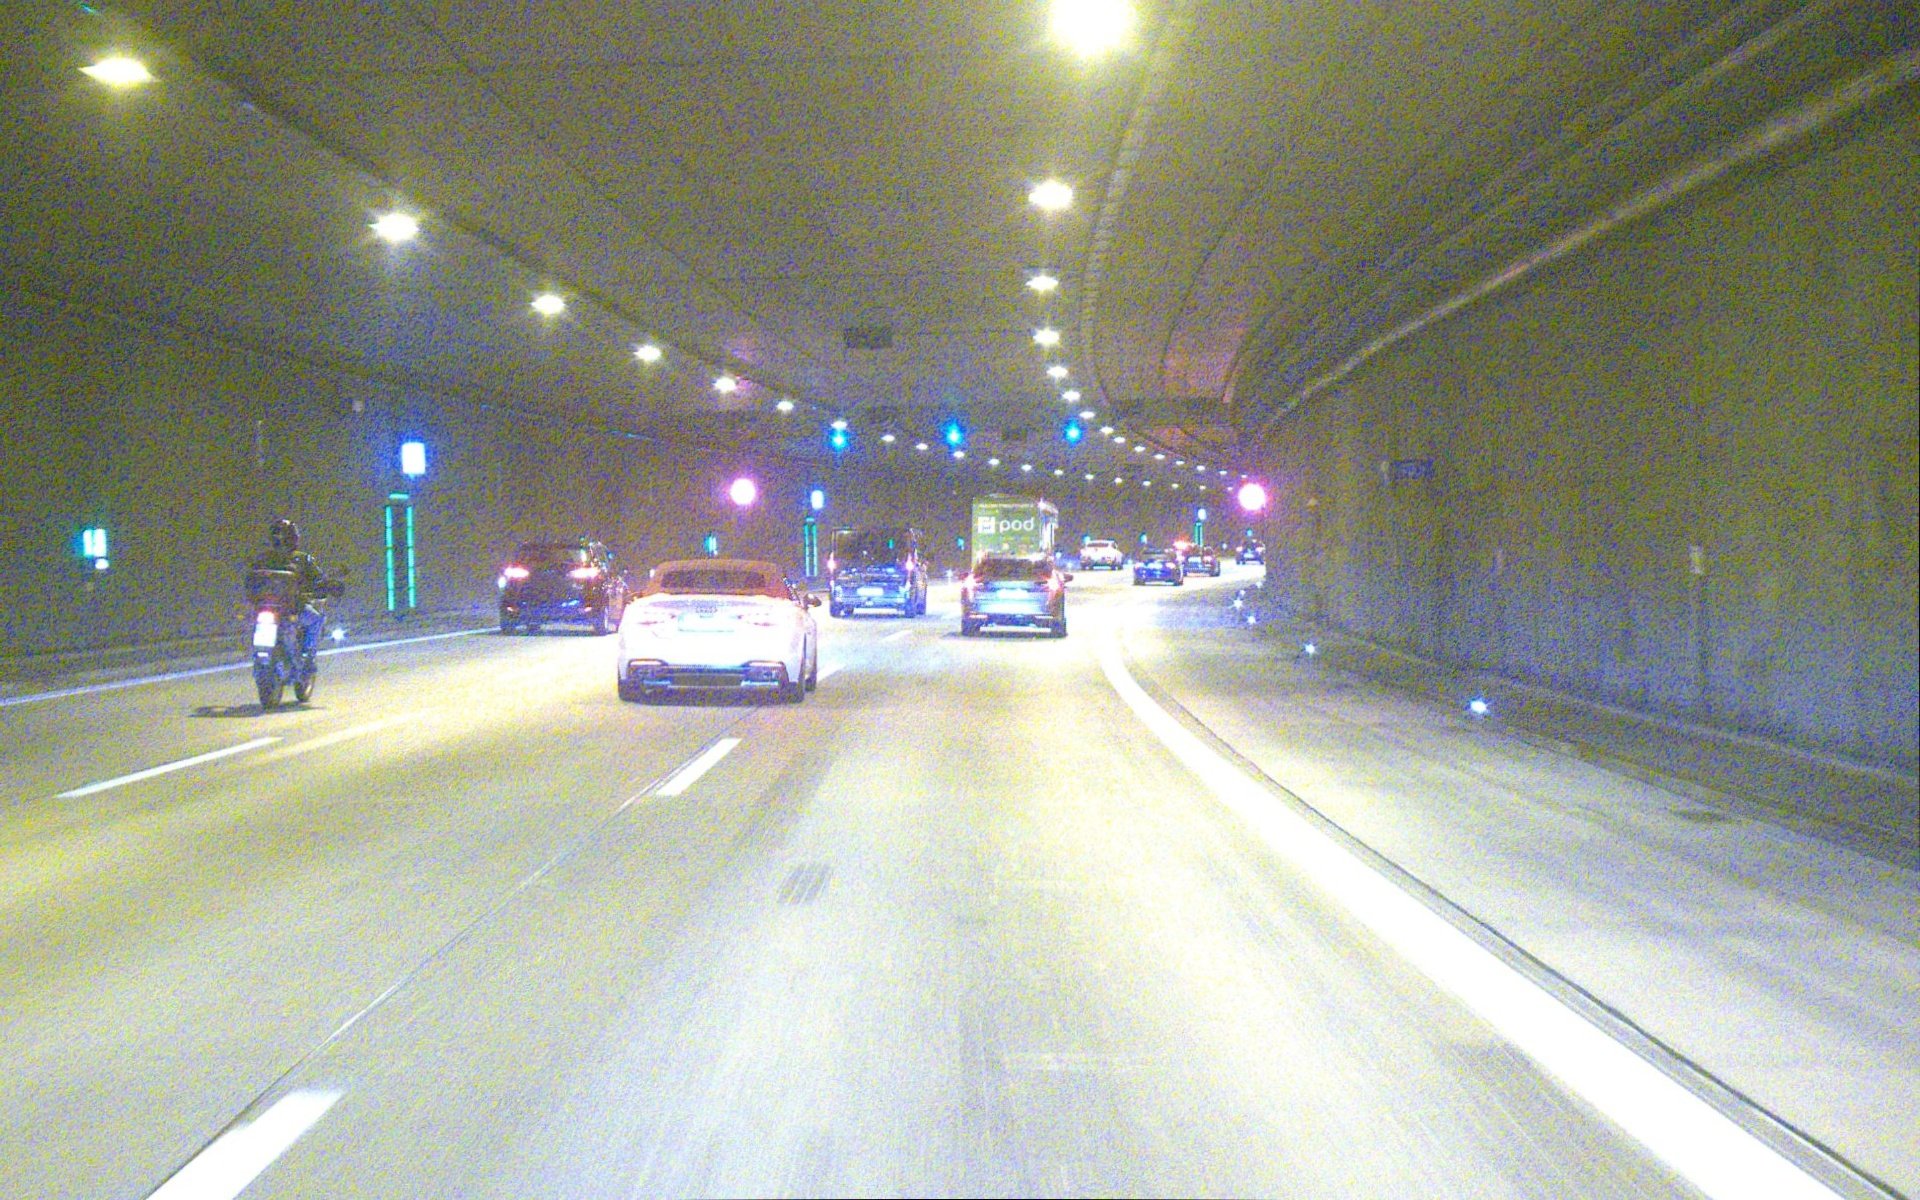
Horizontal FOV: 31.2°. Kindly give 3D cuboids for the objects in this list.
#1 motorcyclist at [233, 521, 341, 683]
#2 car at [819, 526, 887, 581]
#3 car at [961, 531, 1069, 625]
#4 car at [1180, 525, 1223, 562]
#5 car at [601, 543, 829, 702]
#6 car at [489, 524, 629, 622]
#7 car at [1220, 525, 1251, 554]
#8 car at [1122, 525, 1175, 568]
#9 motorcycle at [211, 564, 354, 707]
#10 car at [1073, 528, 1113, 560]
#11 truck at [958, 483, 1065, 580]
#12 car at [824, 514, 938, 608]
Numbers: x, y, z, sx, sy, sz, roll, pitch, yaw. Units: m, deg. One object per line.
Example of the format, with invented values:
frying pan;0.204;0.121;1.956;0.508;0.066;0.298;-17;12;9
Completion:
motorcyclist;-6.229;0.008;31.861;0.839;1.472;0.821;1;1;0
car;-3.369;-1.489;109.002;1.800;1.678;4.000;1;1;3
car;0.959;-0.413;60.749;1.839;1.596;4.000;0;1;0
car;11.296;-2.665;160.712;1.859;1.660;3.999;-2;1;5
car;-2.385;0.180;34.473;1.993;1.478;4.000;-1;1;0
car;-6.723;-0.471;57.973;1.785;1.593;3.801;0;1;2
car;17.124;-3.771;213.550;1.834;1.685;4.000;-2;1;5
car;7.266;-2.064;132.626;1.844;1.562;4.000;-2;1;1
motorcycle;-6.187;0.296;31.547;0.845;1.241;2.605;0;1;-1
car;6.985;-2.945;180.572;1.831;1.612;3.999;-2;1;6
truck;1.889;-2.480;121.283;3.083;3.102;10.029;-3;2;4
car;-1.677;-0.873;74.698;1.994;1.965;3.999;-1;1;5
